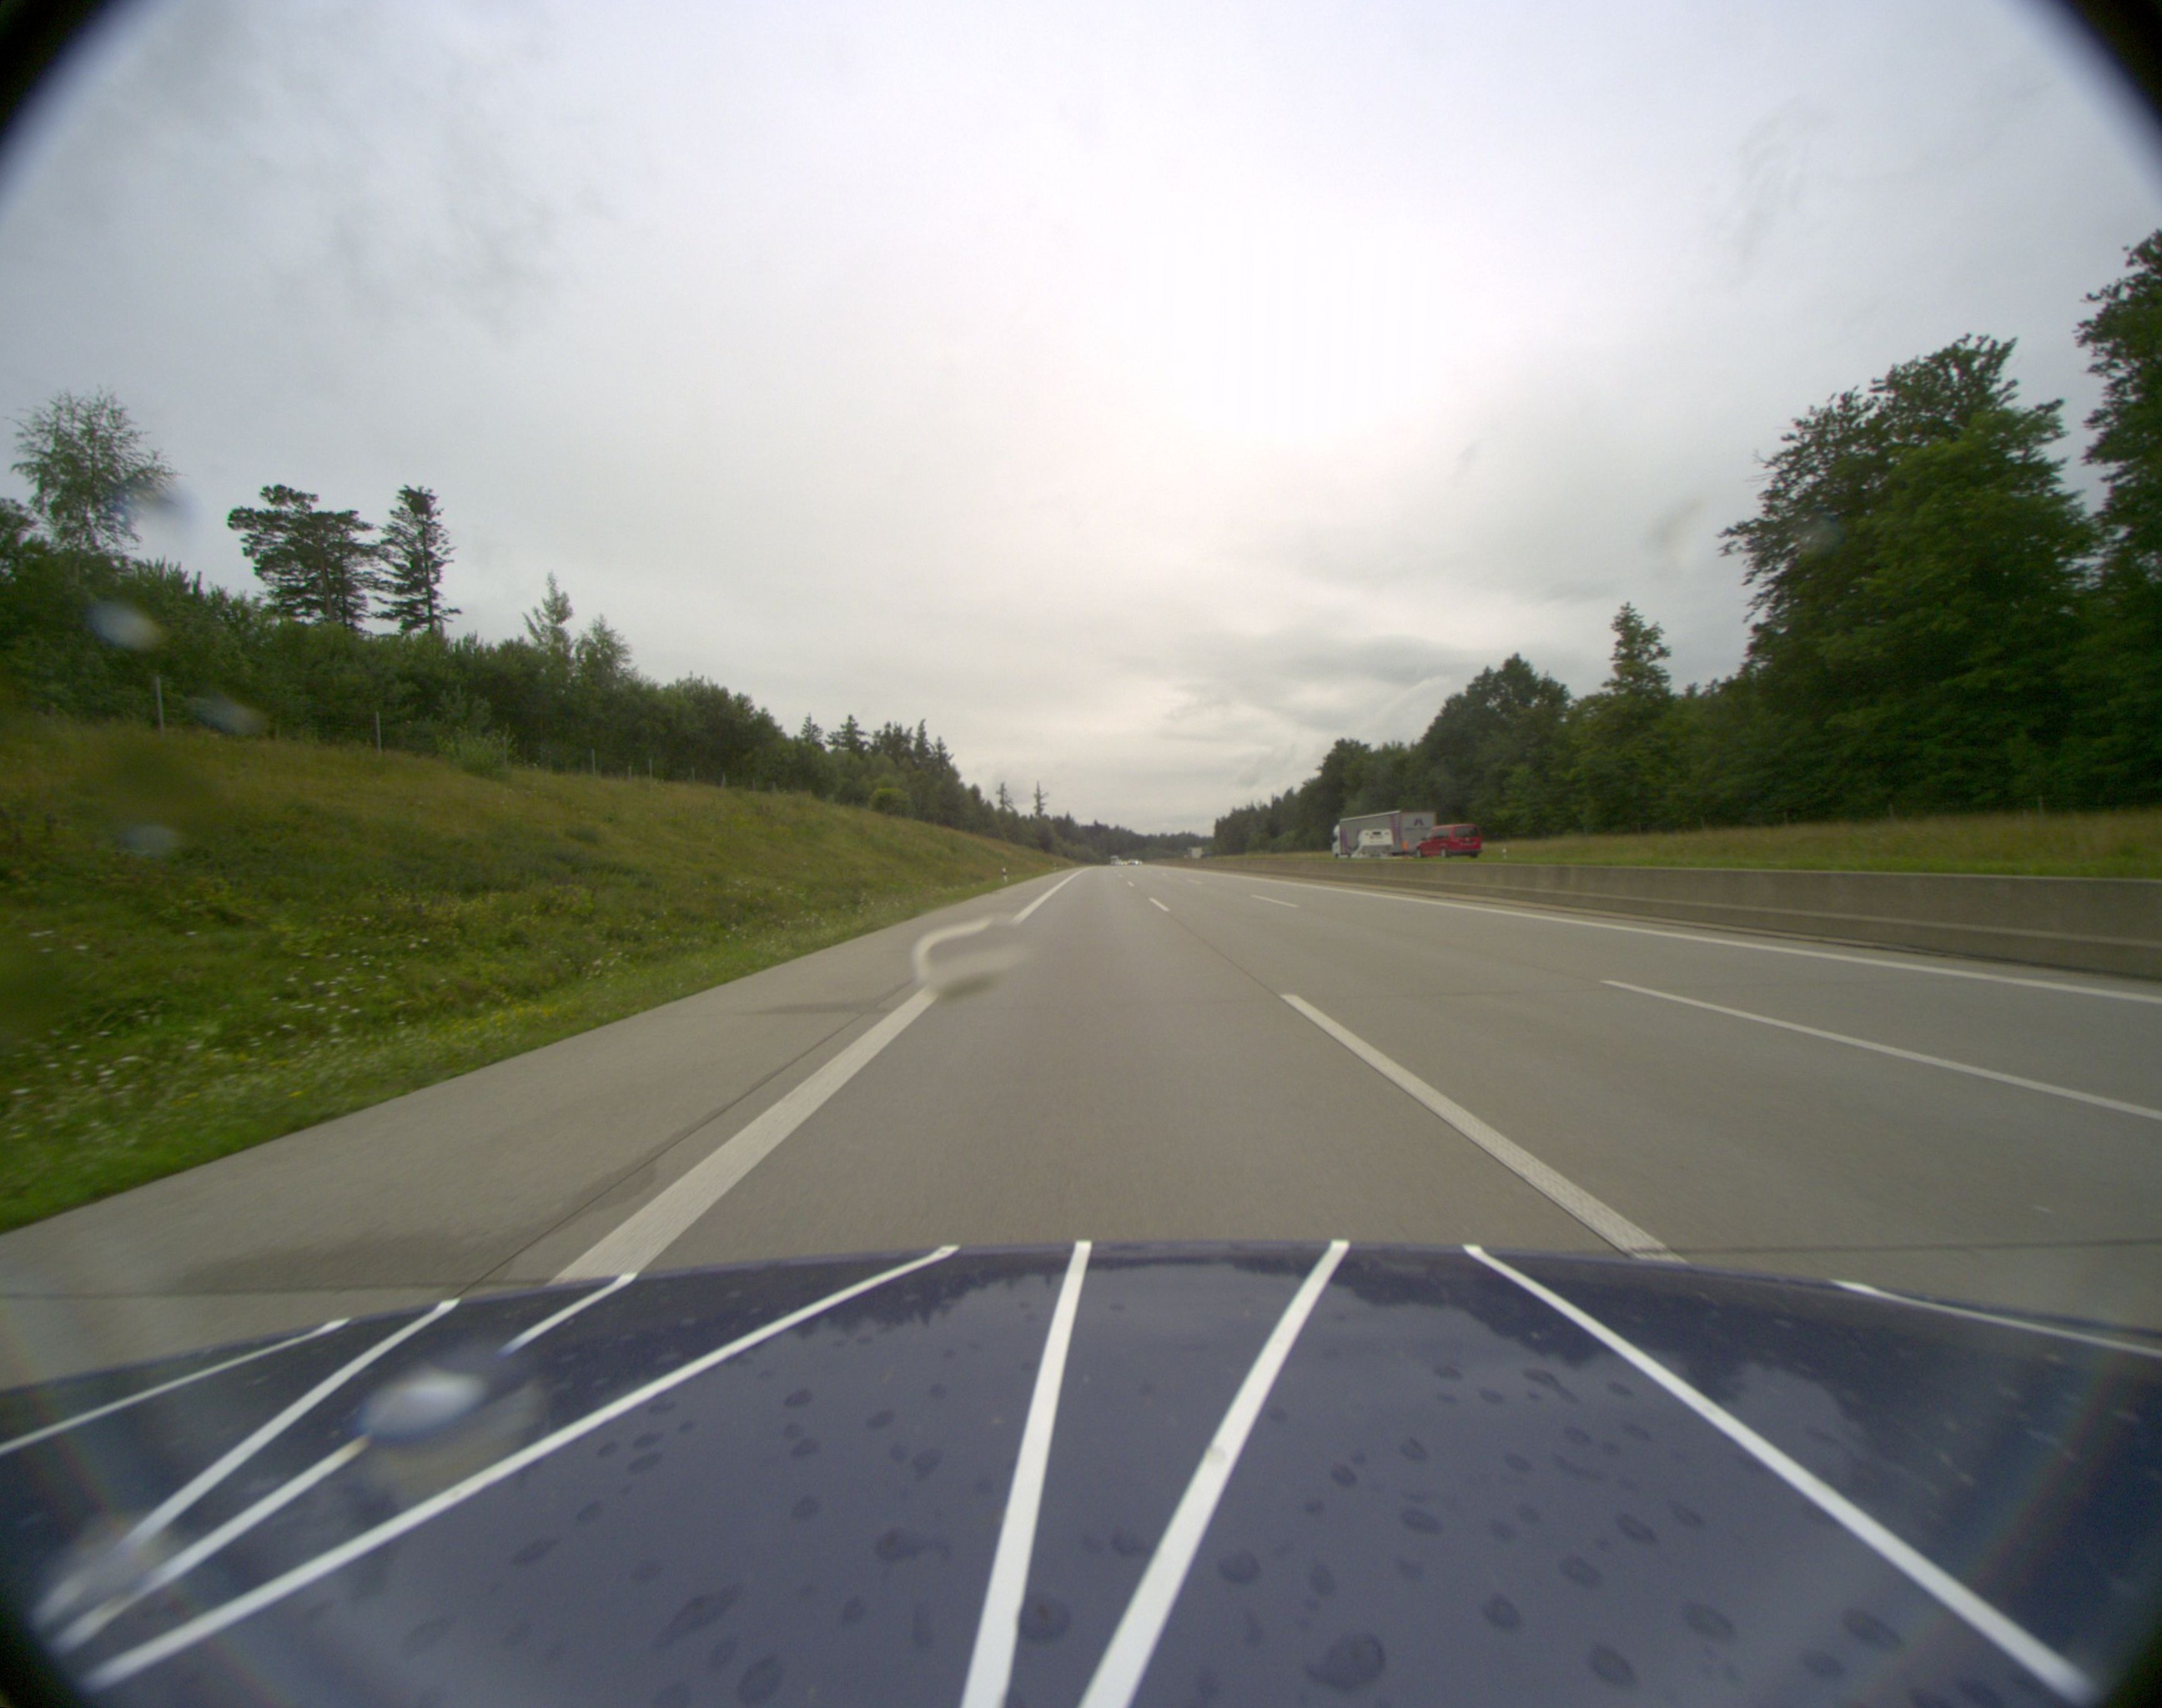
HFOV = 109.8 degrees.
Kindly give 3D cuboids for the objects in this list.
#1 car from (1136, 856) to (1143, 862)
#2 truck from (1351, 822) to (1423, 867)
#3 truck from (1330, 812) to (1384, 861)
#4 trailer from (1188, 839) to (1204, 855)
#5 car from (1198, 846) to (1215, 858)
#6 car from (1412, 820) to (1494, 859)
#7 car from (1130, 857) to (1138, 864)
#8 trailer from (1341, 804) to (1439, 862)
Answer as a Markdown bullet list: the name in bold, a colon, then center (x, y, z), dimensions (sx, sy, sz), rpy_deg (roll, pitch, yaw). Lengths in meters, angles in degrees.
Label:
- **car**: center (19.277, 1.705, 251.358), dimensions (1.765, 1.871, 3.999), rpy_deg (-2, 0, -1)
- **truck**: center (20.262, -0.612, 50.728), dimensions (2.273, 2.772, 6.512), rpy_deg (-2, 0, 2)
- **truck**: center (24.764, -1.548, 68.534), dimensions (2.515, 4.101, 6.461), rpy_deg (-2, 0, 2)
- **trailer**: center (30.854, -1.853, 203.970), dimensions (2.817, 3.996, 13.991), rpy_deg (-2, 0, 3)
- **car**: center (21.966, -0.426, 133.030), dimensions (2.066, 2.002, 5.427), rpy_deg (-2, 0, 2)
- **car**: center (19.929, -0.763, 40.991), dimensions (1.998, 1.871, 5.314), rpy_deg (-2, 1, 3)
- **car**: center (15.909, 1.895, 228.995), dimensions (2.213, 2.001, 4.836), rpy_deg (-3, -2, 3)
- **trailer**: center (24.577, -1.535, 61.526), dimensions (2.504, 4.079, 13.975), rpy_deg (-2, 0, 2)
